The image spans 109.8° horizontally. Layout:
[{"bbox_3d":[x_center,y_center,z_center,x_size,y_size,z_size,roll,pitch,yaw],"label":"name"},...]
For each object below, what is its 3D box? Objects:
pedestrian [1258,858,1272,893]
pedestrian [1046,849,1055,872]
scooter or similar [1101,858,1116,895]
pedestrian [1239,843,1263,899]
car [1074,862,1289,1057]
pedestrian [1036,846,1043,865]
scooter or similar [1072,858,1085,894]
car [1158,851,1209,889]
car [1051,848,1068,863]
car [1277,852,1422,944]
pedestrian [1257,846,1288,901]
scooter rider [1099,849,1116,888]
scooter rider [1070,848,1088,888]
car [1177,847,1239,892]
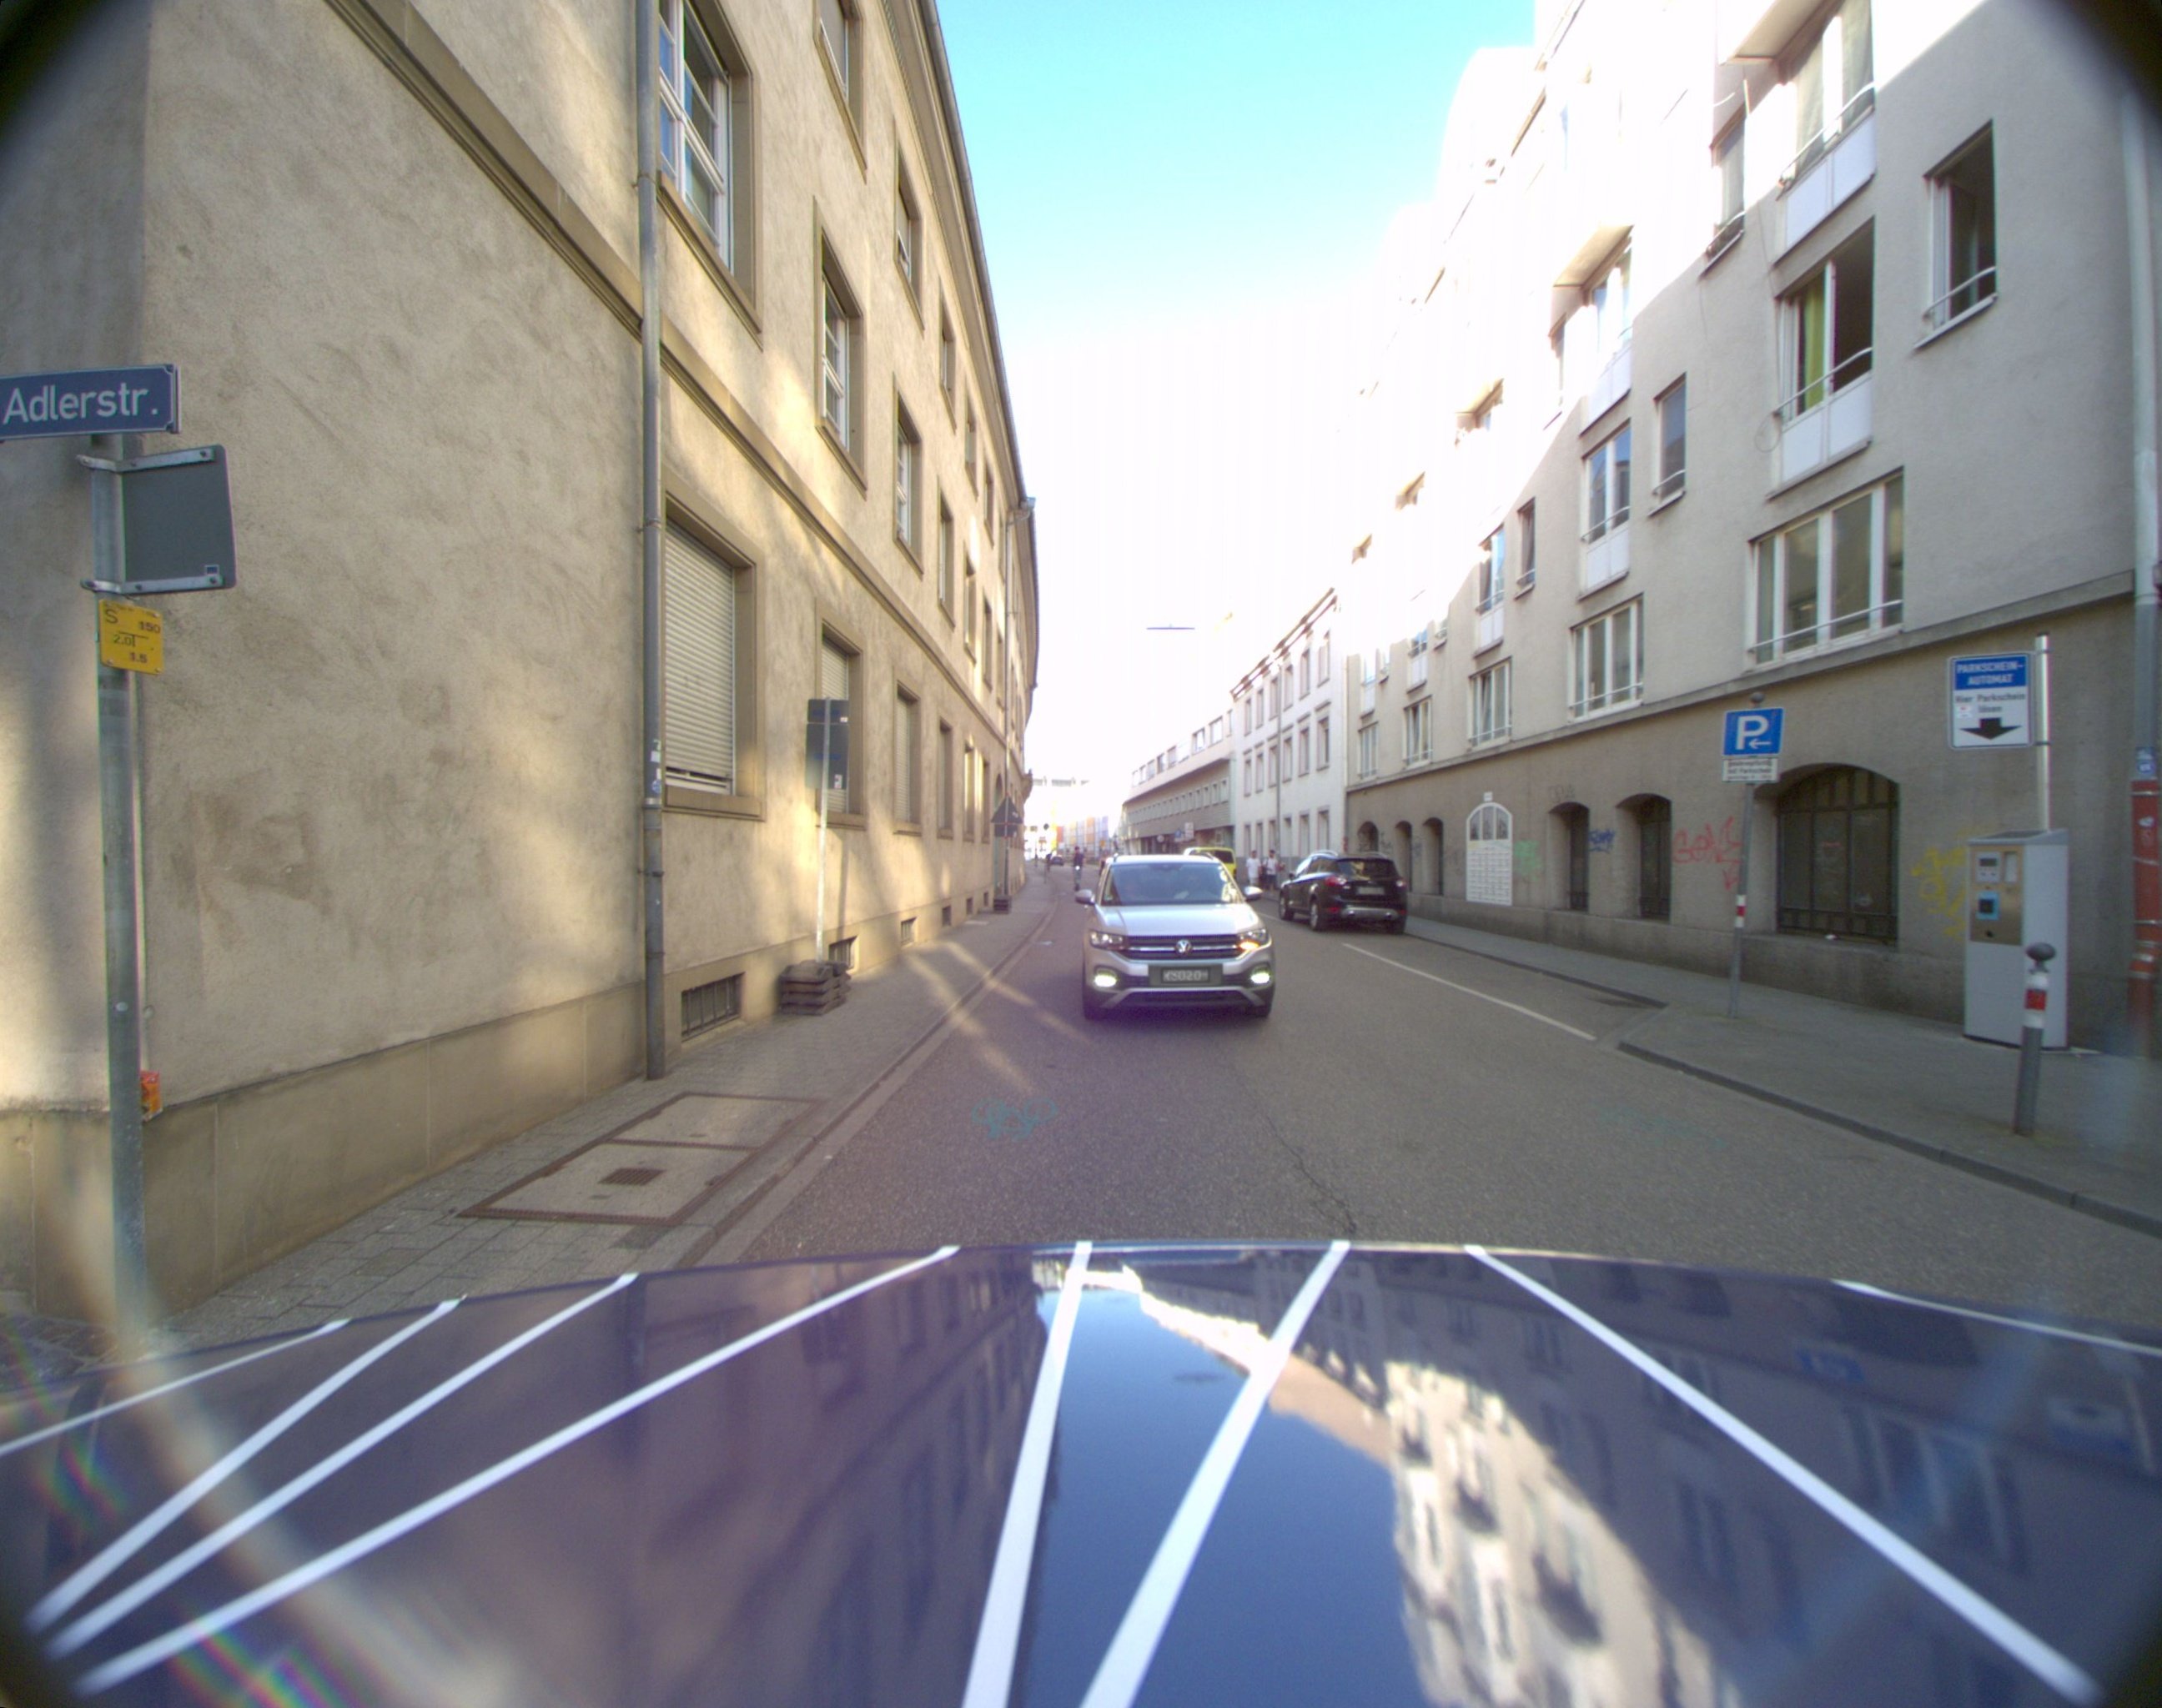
[{"bbox_3d":[7.599,0.892,31.390,0.556,1.439,0.583,0,1,11],"label":"pedestrian"},{"bbox_3d":[-2.644,0.571,65.522,0.715,2.002,0.699,0,1,0],"label":"pedestrian"},{"bbox_3d":[1.094,0.868,30.016,0.550,1.388,1.555,0,0,1],"label":"scooter or similar"},{"bbox_3d":[6.116,0.599,27.373,0.715,2.002,0.699,0,1,0],"label":"pedestrian"},{"bbox_3d":[0.849,0.890,8.253,1.762,1.537,4.000,0,0,1],"label":"car"},{"bbox_3d":[-4.389,0.195,79.840,0.715,2.002,0.699,0,1,0],"label":"pedestrian"},{"bbox_3d":[-0.089,0.864,30.588,0.523,1.388,1.555,0,0,1],"label":"scooter or similar"},{"bbox_3d":[5.246,0.779,39.543,1.888,1.758,3.999,2,0,-2],"label":"car"},{"bbox_3d":[-2.899,0.175,101.580,1.889,1.863,3.998,2,0,-5],"label":"car"},{"bbox_3d":[5.751,0.855,16.825,1.888,1.694,4.000,2,0,2],"label":"car"},{"bbox_3d":[6.986,0.696,27.717,0.937,2.002,0.699,0,1,0],"label":"pedestrian"},{"bbox_3d":[1.056,0.563,30.180,0.591,1.499,0.600,-2,1,1],"label":"scooter rider"},{"bbox_3d":[-0.088,0.559,30.802,0.647,1.584,0.600,-2,1,1],"label":"scooter rider"},{"bbox_3d":[5.488,0.624,33.302,1.888,1.863,3.999,0,1,-2],"label":"car"}]
